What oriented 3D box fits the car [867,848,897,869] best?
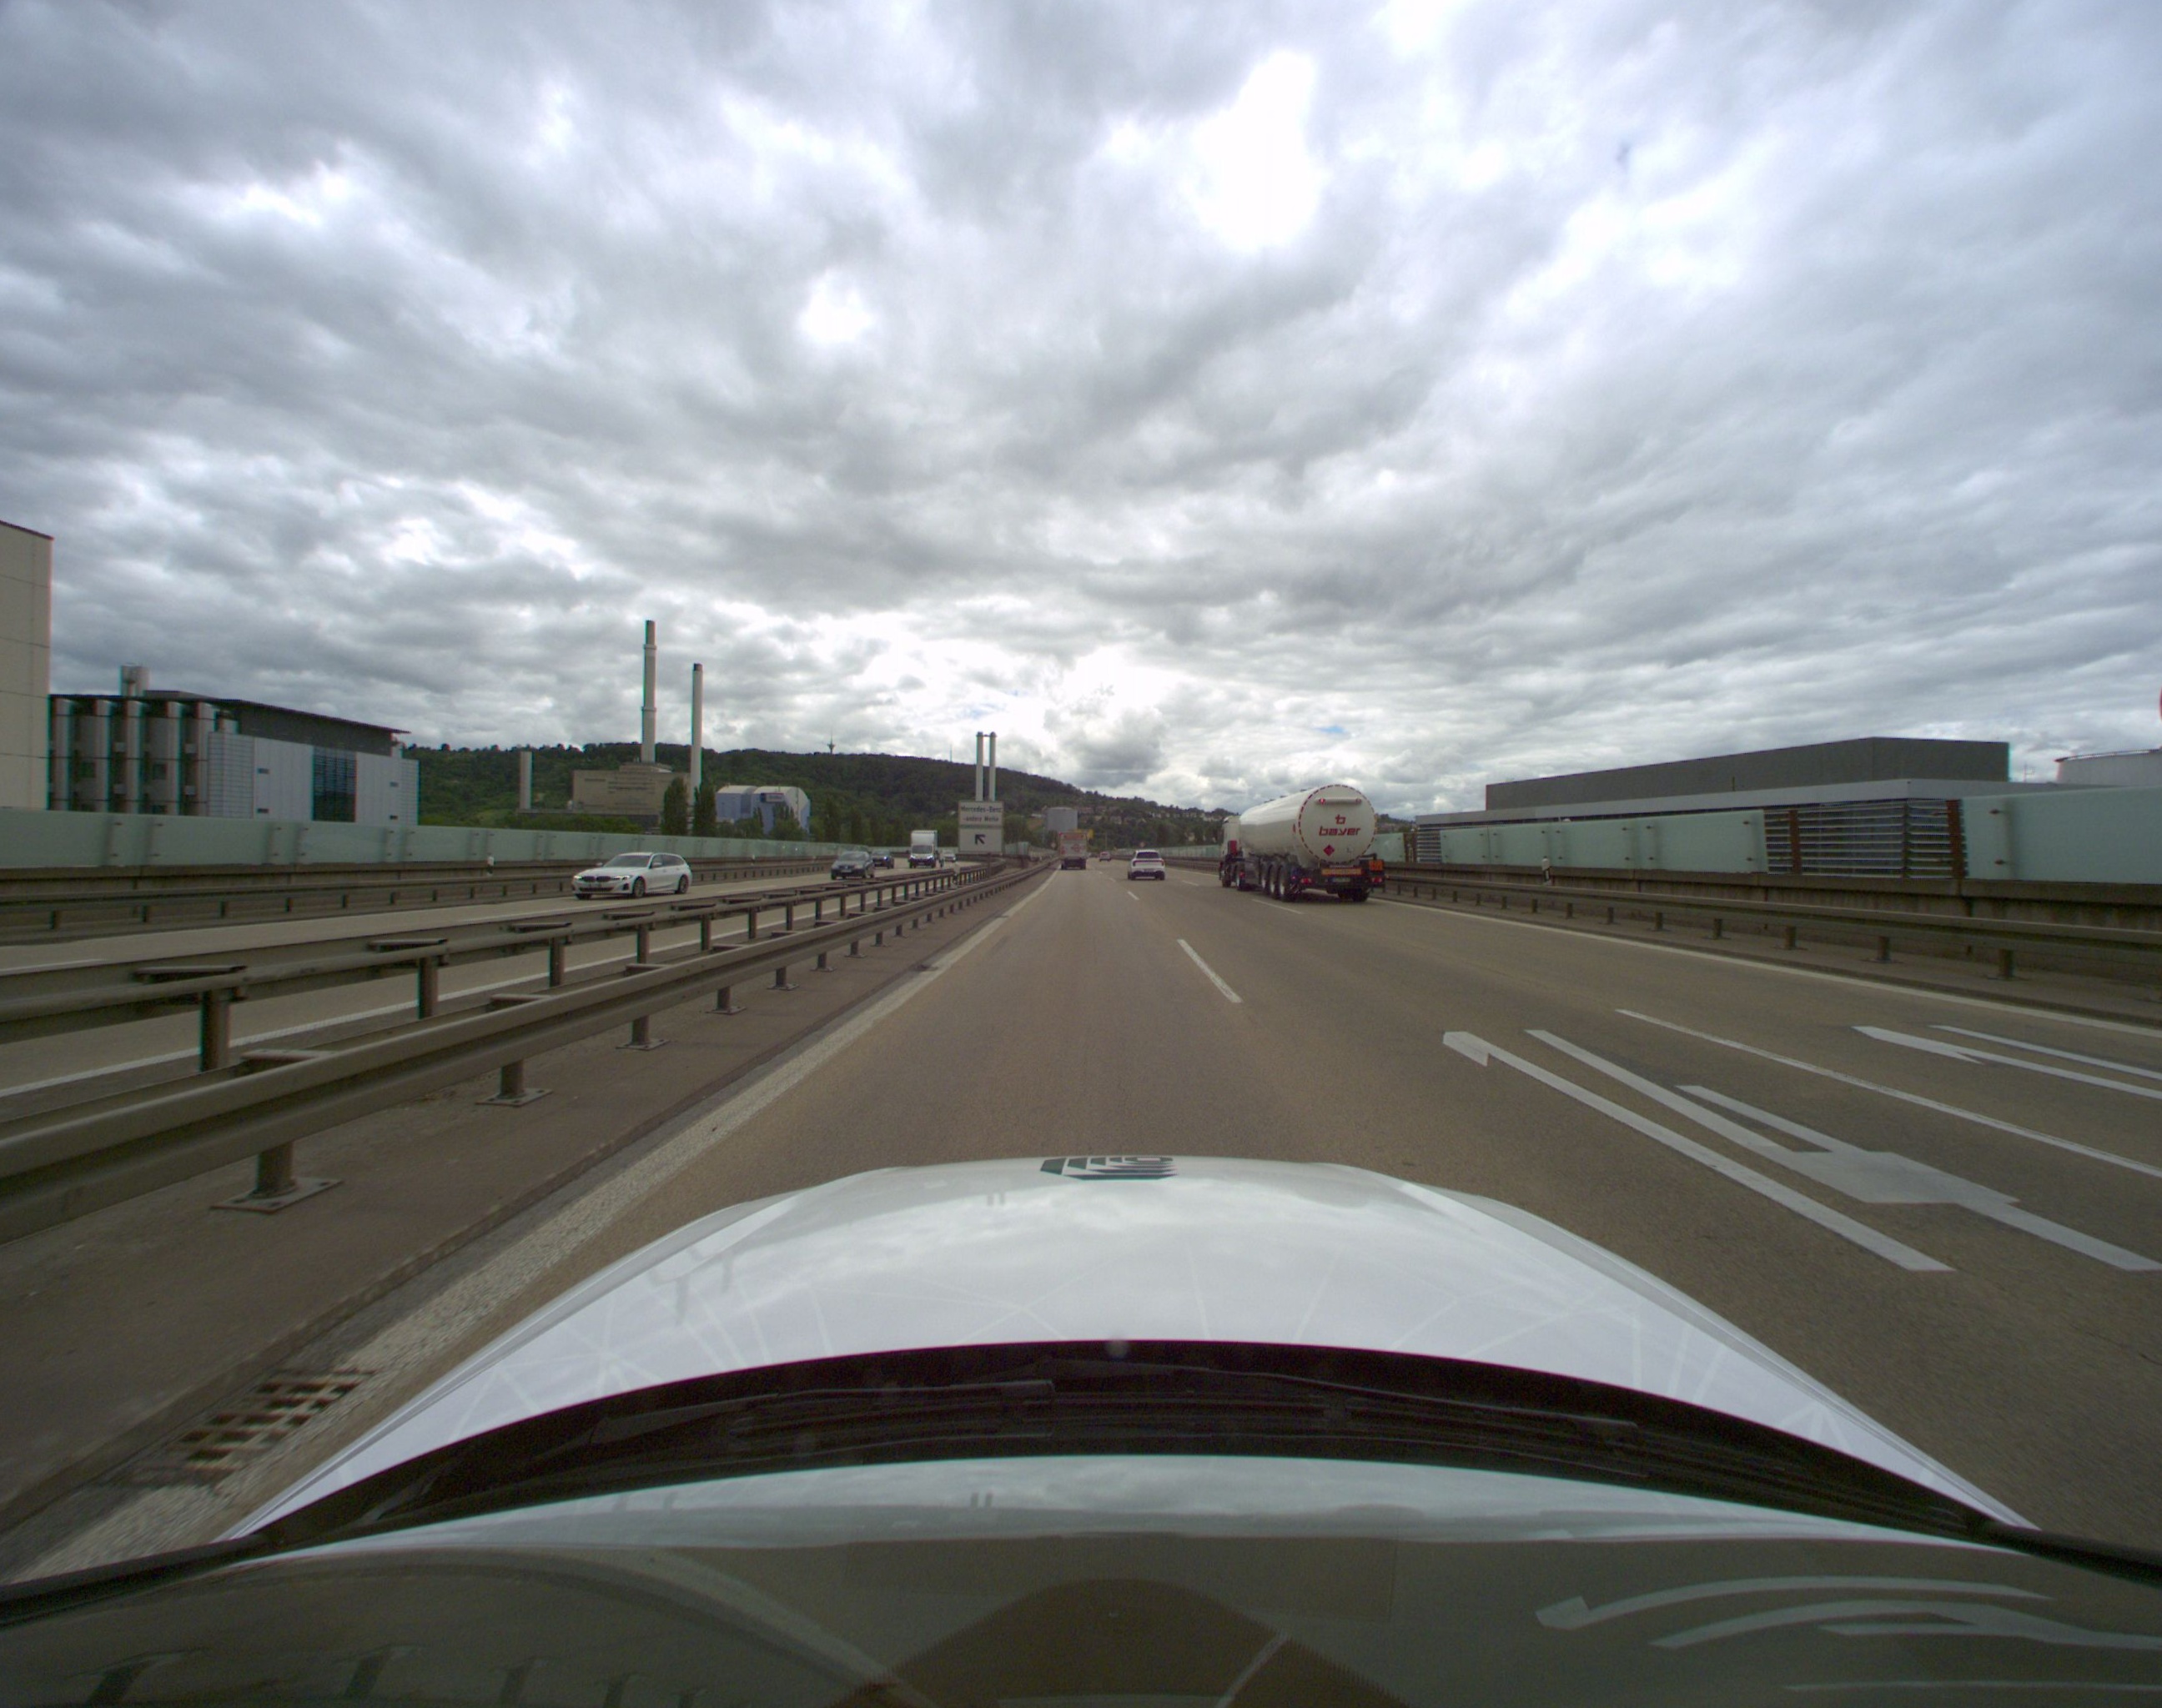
[{"bbox_3d":[-16.730,0.342,68.663,1.752,1.748,4.361,0,0,-5],"label":"car"}]

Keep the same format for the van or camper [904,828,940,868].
[{"bbox_3d":[-13.987,-0.485,72.232,2.401,3.387,6.941,0,-1,-5],"label":"van or camper"}]

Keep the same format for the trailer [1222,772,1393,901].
[{"bbox_3d":[7.181,-0.438,27.903,2.642,3.543,11.216,0,0,0],"label":"trailer"}]

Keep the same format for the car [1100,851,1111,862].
[{"bbox_3d":[4.296,0.443,144.743,1.916,1.785,4.115,0,0,2],"label":"car"}]

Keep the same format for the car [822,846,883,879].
[{"bbox_3d":[-12.075,0.446,43.298,2.017,1.611,4.810,-1,0,-2],"label":"car"}]

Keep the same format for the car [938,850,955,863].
[{"bbox_3d":[-17.443,0.279,105.834,1.841,1.673,4.401,0,0,-4],"label":"car"}]

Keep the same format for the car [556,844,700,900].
[{"bbox_3d":[-14.427,0.538,26.301,1.911,1.611,4.813,-1,0,0],"label":"car"}]

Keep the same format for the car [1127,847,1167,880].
[{"bbox_3d":[3.638,0.502,45.749,1.918,1.785,4.112,0,0,0],"label":"car"}]

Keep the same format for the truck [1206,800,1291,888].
[{"bbox_3d":[7.127,-0.380,35.215,2.623,3.514,4.902,0,0,-1],"label":"truck"}]

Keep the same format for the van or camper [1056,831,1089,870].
[{"bbox_3d":[-0.804,-0.290,80.273,3.112,3.579,8.547,0,-1,0],"label":"van or camper"}]
